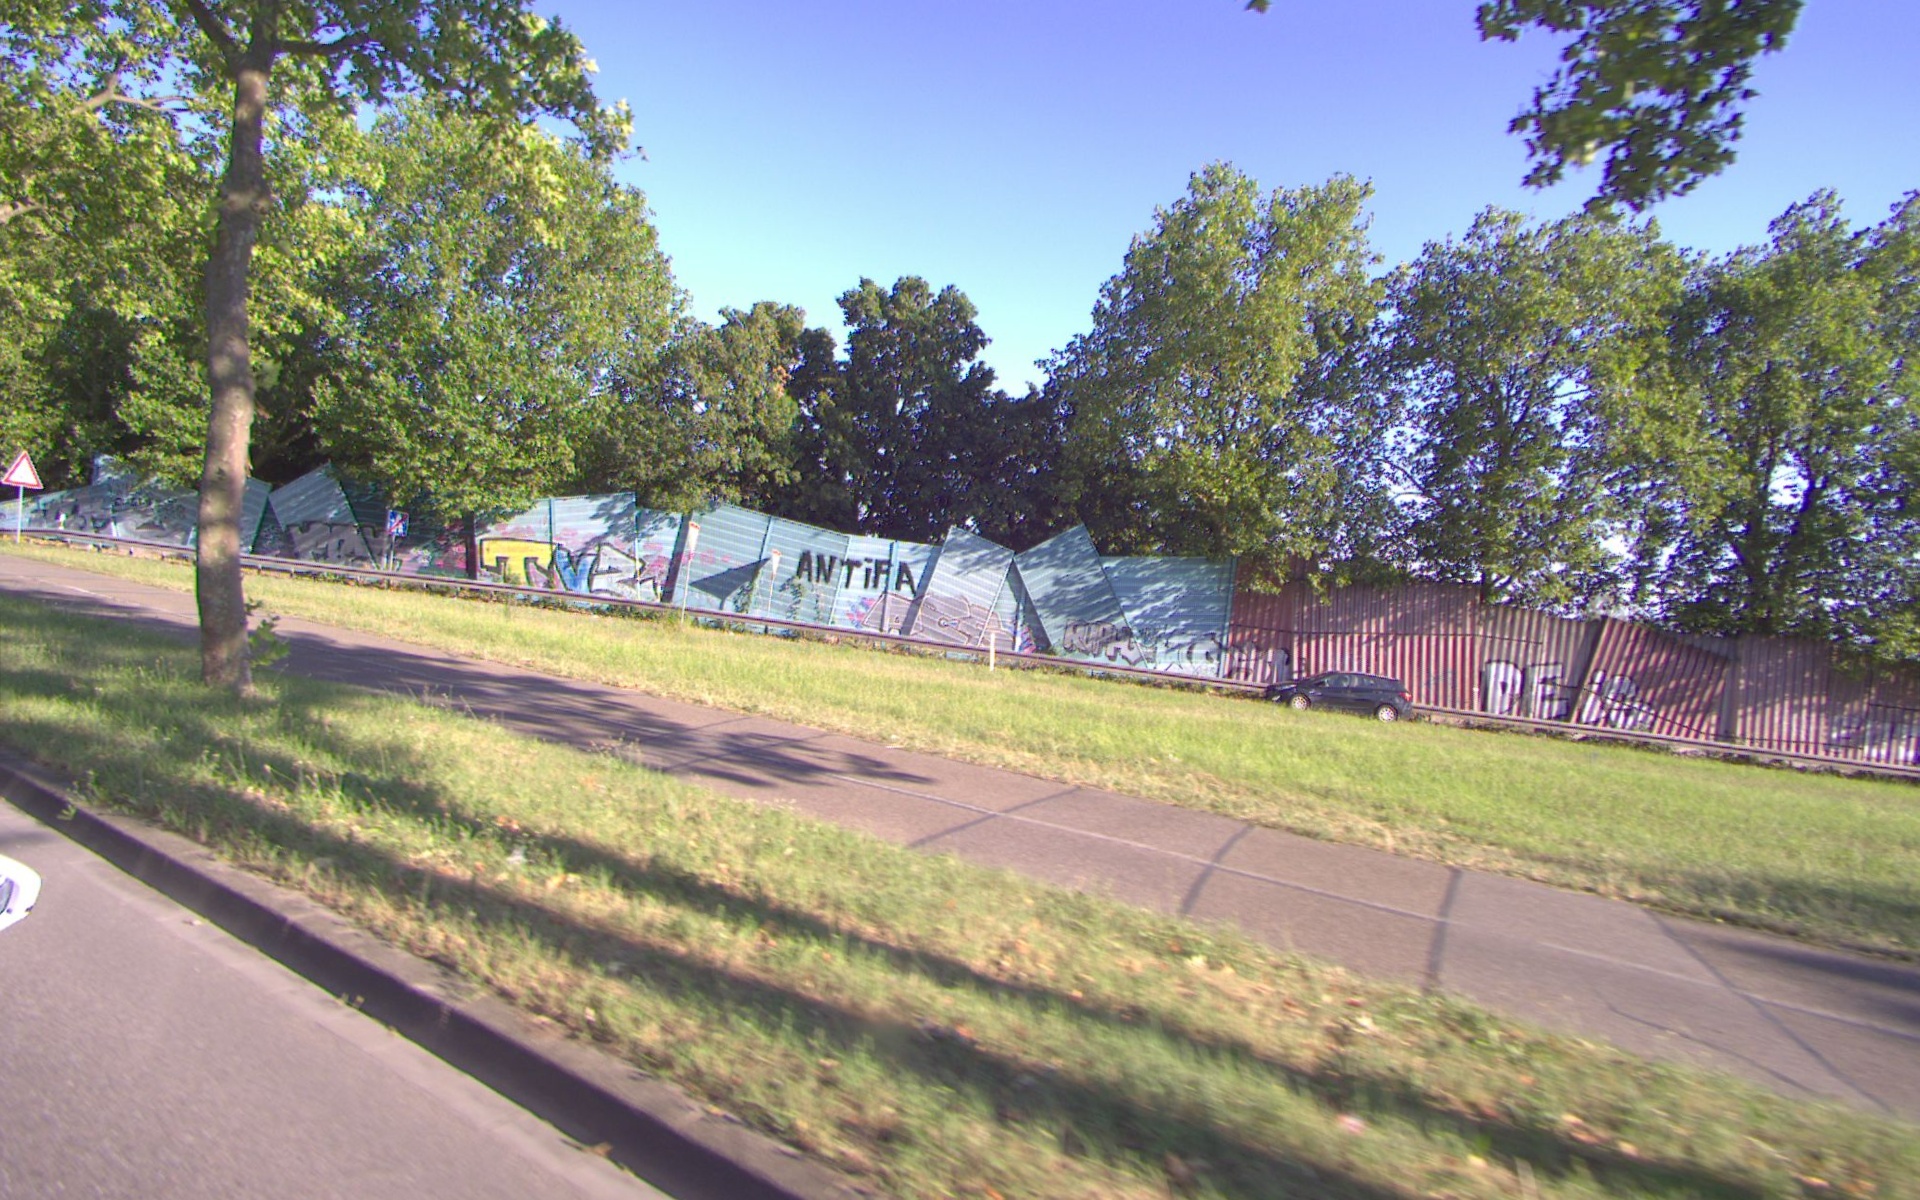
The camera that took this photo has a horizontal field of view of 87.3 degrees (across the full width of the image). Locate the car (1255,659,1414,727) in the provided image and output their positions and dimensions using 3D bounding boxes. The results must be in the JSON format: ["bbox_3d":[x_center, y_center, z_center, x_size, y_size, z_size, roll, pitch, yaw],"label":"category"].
[{"bbox_3d":[11.471,2.829,31.015,4.143,1.457,1.800,7,-1,6],"label":"car"}]
